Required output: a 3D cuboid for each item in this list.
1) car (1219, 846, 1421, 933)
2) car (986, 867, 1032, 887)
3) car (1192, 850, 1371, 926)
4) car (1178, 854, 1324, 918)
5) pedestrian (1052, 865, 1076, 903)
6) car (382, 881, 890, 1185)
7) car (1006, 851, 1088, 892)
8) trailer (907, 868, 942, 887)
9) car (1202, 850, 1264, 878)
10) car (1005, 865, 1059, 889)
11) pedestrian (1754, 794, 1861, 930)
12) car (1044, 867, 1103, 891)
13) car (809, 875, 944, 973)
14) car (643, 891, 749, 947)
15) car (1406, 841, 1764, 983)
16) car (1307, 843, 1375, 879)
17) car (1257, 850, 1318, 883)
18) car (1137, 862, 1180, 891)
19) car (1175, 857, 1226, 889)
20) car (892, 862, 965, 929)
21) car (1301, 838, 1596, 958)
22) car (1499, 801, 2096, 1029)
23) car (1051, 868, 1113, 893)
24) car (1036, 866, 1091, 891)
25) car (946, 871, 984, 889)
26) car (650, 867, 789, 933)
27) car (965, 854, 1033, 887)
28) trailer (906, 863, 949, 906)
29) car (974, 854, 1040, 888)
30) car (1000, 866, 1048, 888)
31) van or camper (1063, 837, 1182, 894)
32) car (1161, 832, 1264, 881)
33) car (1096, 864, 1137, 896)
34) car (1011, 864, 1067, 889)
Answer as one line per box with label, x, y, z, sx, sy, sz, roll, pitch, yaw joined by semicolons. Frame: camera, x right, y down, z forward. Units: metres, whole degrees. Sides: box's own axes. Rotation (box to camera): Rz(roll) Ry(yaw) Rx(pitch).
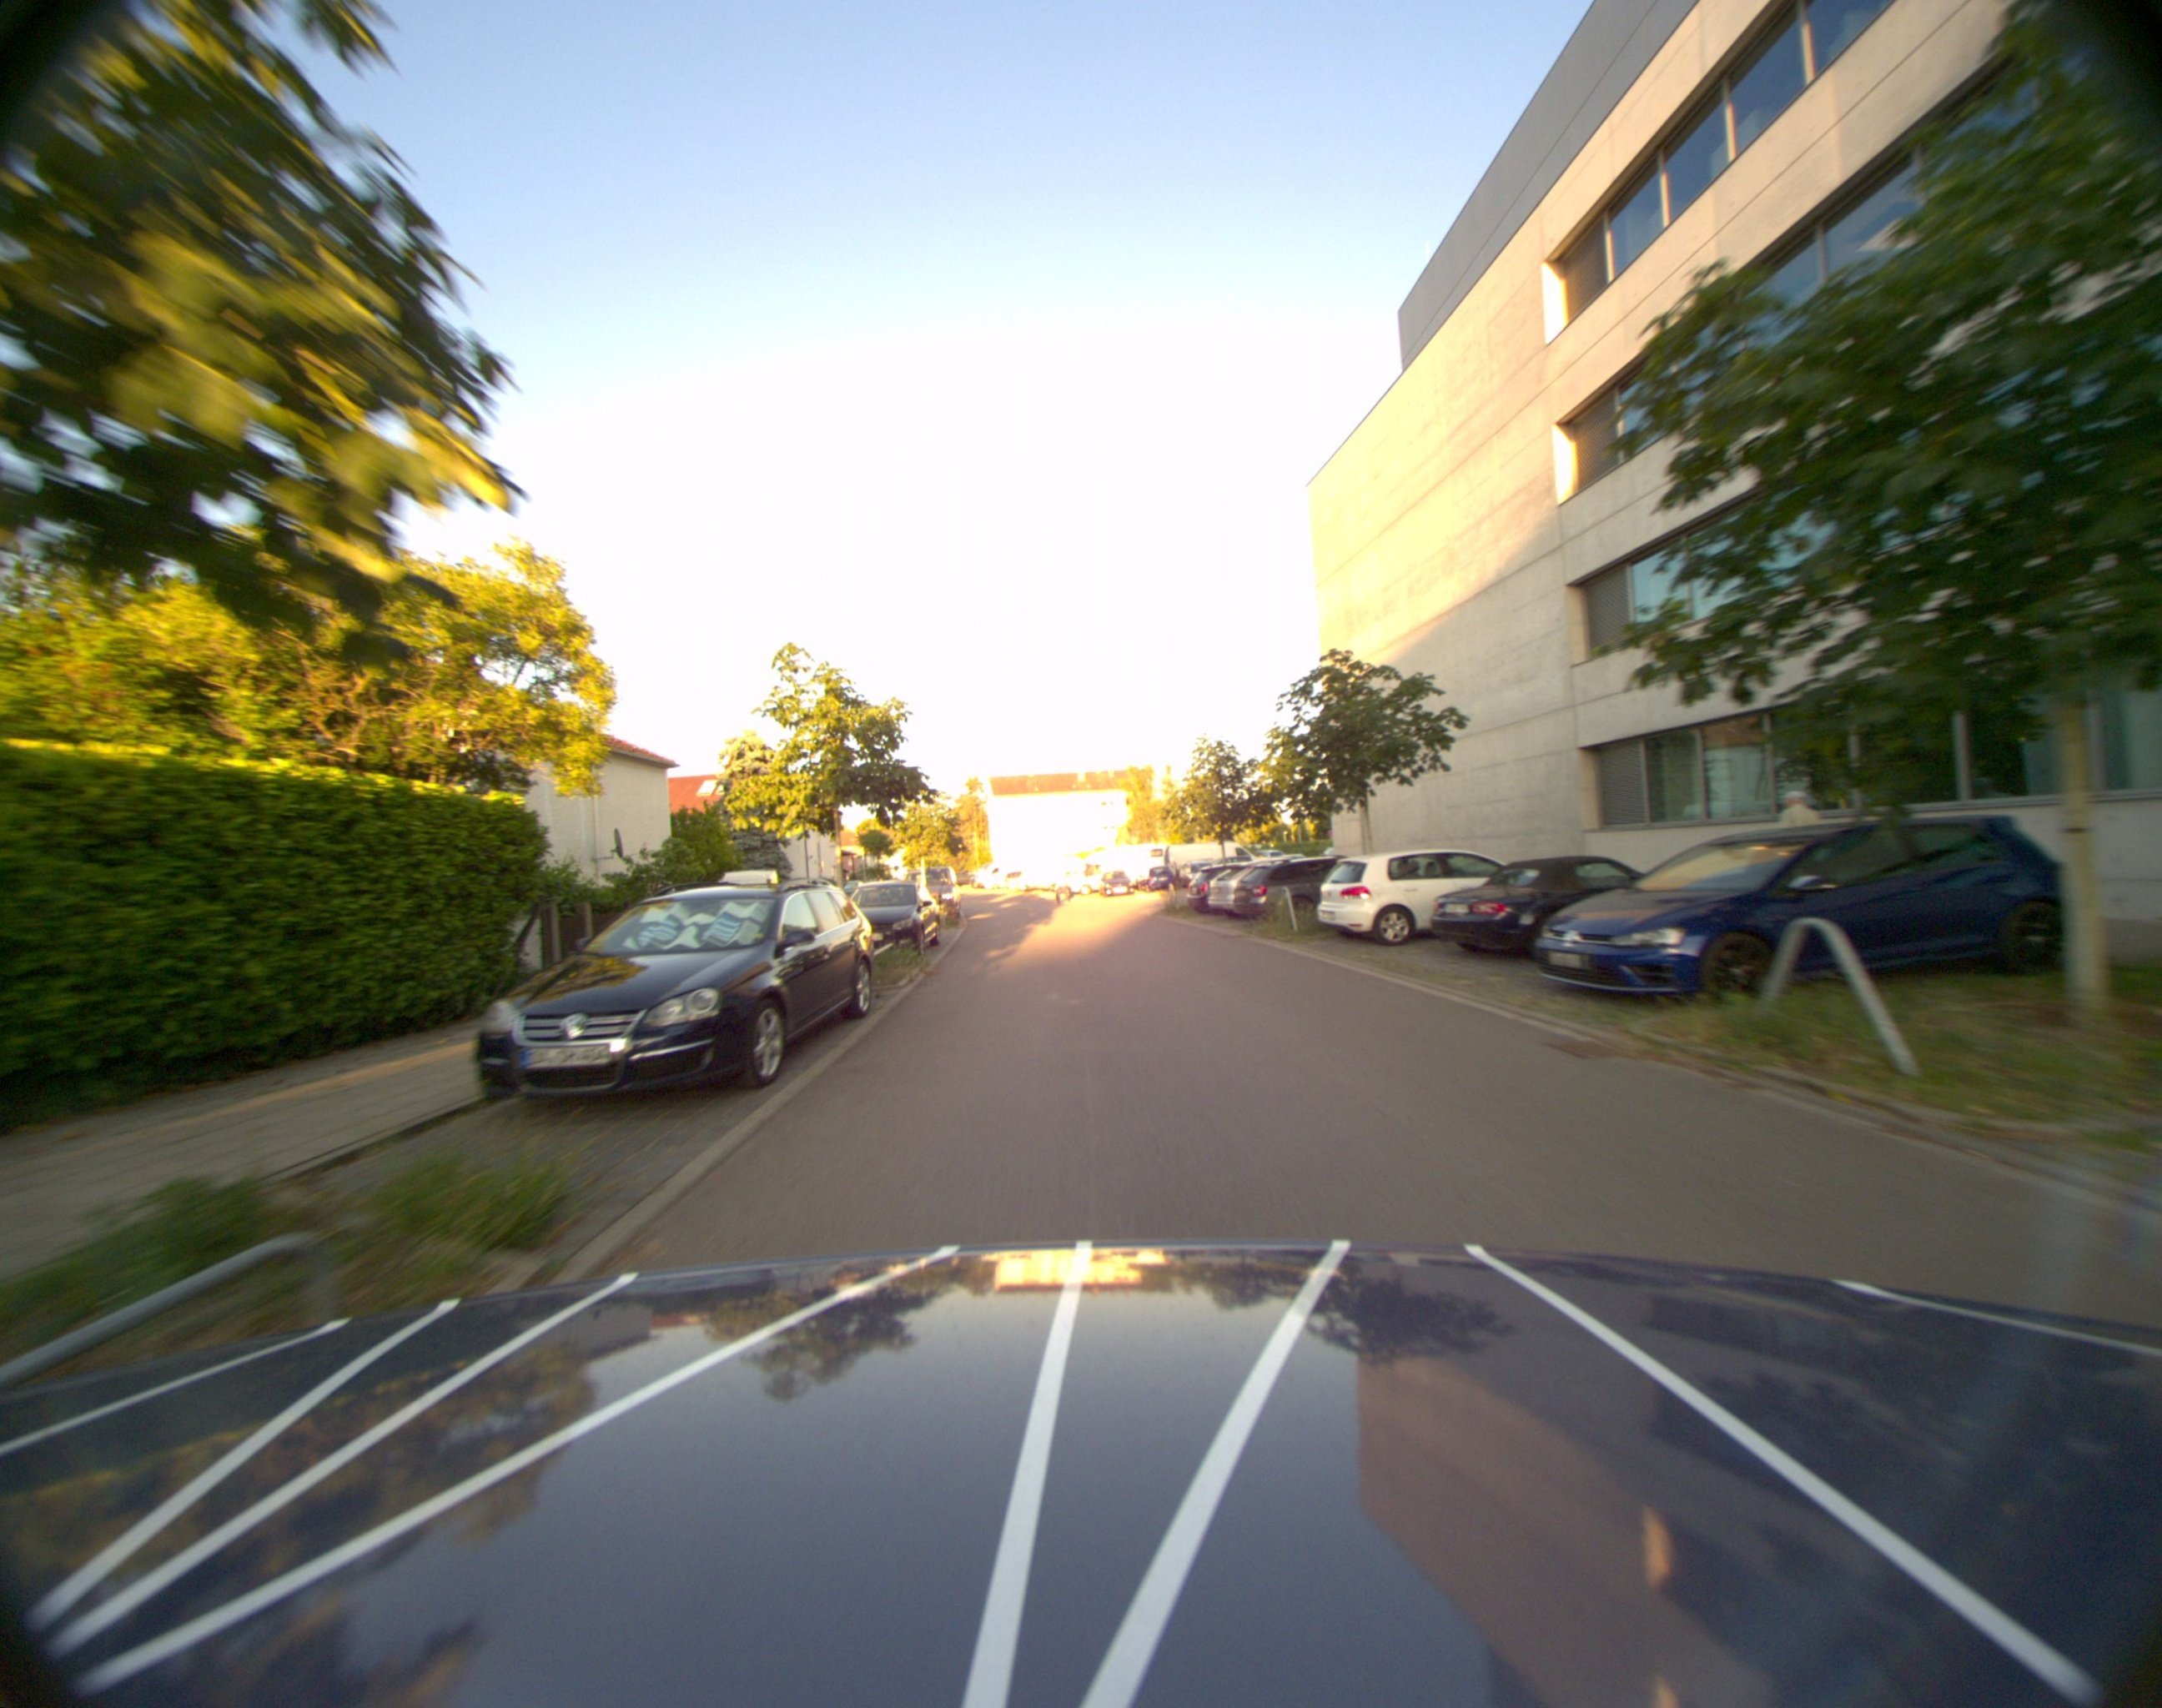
car;5.402;0.798;17.396;4.011;1.503;1.584;-5;-2;-10
car;-6.840;2.179;71.963;3.941;1.498;1.787;-5;0;-19
car;5.250;0.862;20.153;4.099;1.519;1.845;-5;0;-10
car;5.027;0.944;22.687;3.746;1.473;1.769;-5;-1;-9
pedestrian;-0.864;1.512;38.180;0.902;1.839;0.855;-4;-1;-15
car;-3.097;1.092;6.592;1.715;1.540;4.548;-3;-1;-1
car;-2.722;1.358;60.125;5.909;2.519;2.409;-6;1;-15
trailer;-23.800;3.564;115.512;4.810;2.419;2.131;-5;2;-18
car;9.697;0.666;48.619;3.449;1.439;1.513;-5;0;-10
car;-4.163;1.925;64.252;4.142;1.581;1.745;-6;1;-19
pedestrian;10.066;0.105;10.554;0.647;1.773;0.725;-5;0;-3
car;-0.543;1.792;54.500;3.740;1.359;1.703;-5;0;-18
car;-3.850;1.255;14.899;1.745;1.542;3.639;-3;-1;-3
car;-11.900;1.957;23.727;1.532;1.435;3.639;-3;-1;-3
car;6.501;0.699;10.002;3.644;1.353;1.685;-5;-1;-8
car;14.064;0.328;41.345;1.667;1.612;4.401;-6;3;-7
car;11.463;0.649;42.445;1.667;1.472;4.401;-6;3;-7
car;4.331;1.241;42.881;1.667;1.414;3.720;-4;0;-5
car;6.594;0.996;42.265;1.667;1.471;4.201;-6;1;-5
car;-5.425;1.434;27.610;2.072;2.082;4.870;-3;-1;-7
car;6.012;0.695;12.746;3.998;1.502;1.760;-5;-1;-3
car;6.359;0.500;7.066;3.880;1.502;1.760;-5;-1;-3
car;0.077;1.801;51.701;3.822;1.321;1.691;-5;0;-17
car;-1.345;1.810;56.999;3.642;1.510;1.703;-5;0;-18
car;-13.548;2.994;88.637;3.940;1.642;1.746;-6;0;-17
car;-17.474;2.217;36.933;5.579;2.676;2.053;-4;-2;-5
car;-8.491;1.703;78.723;6.415;2.698;2.109;-6;2;-27
trailer;-8.851;1.735;43.586;2.072;2.198;5.217;-3;-1;-14
car;-7.286;1.631;74.512;5.849;2.697;2.047;-6;0;-22
car;-4.990;1.975;66.321;3.939;1.581;1.747;-5;0;-12
van or camper;2.543;0.723;47.164;6.763;2.880;2.407;-5;0;-11
car;8.809;0.165;51.298;6.262;2.657;2.221;-5;0;-10
car;1.952;1.423;42.550;1.691;1.510;4.360;-5;0;-4
car;-3.414;1.853;62.194;4.141;1.581;1.746;-6;1;-17
